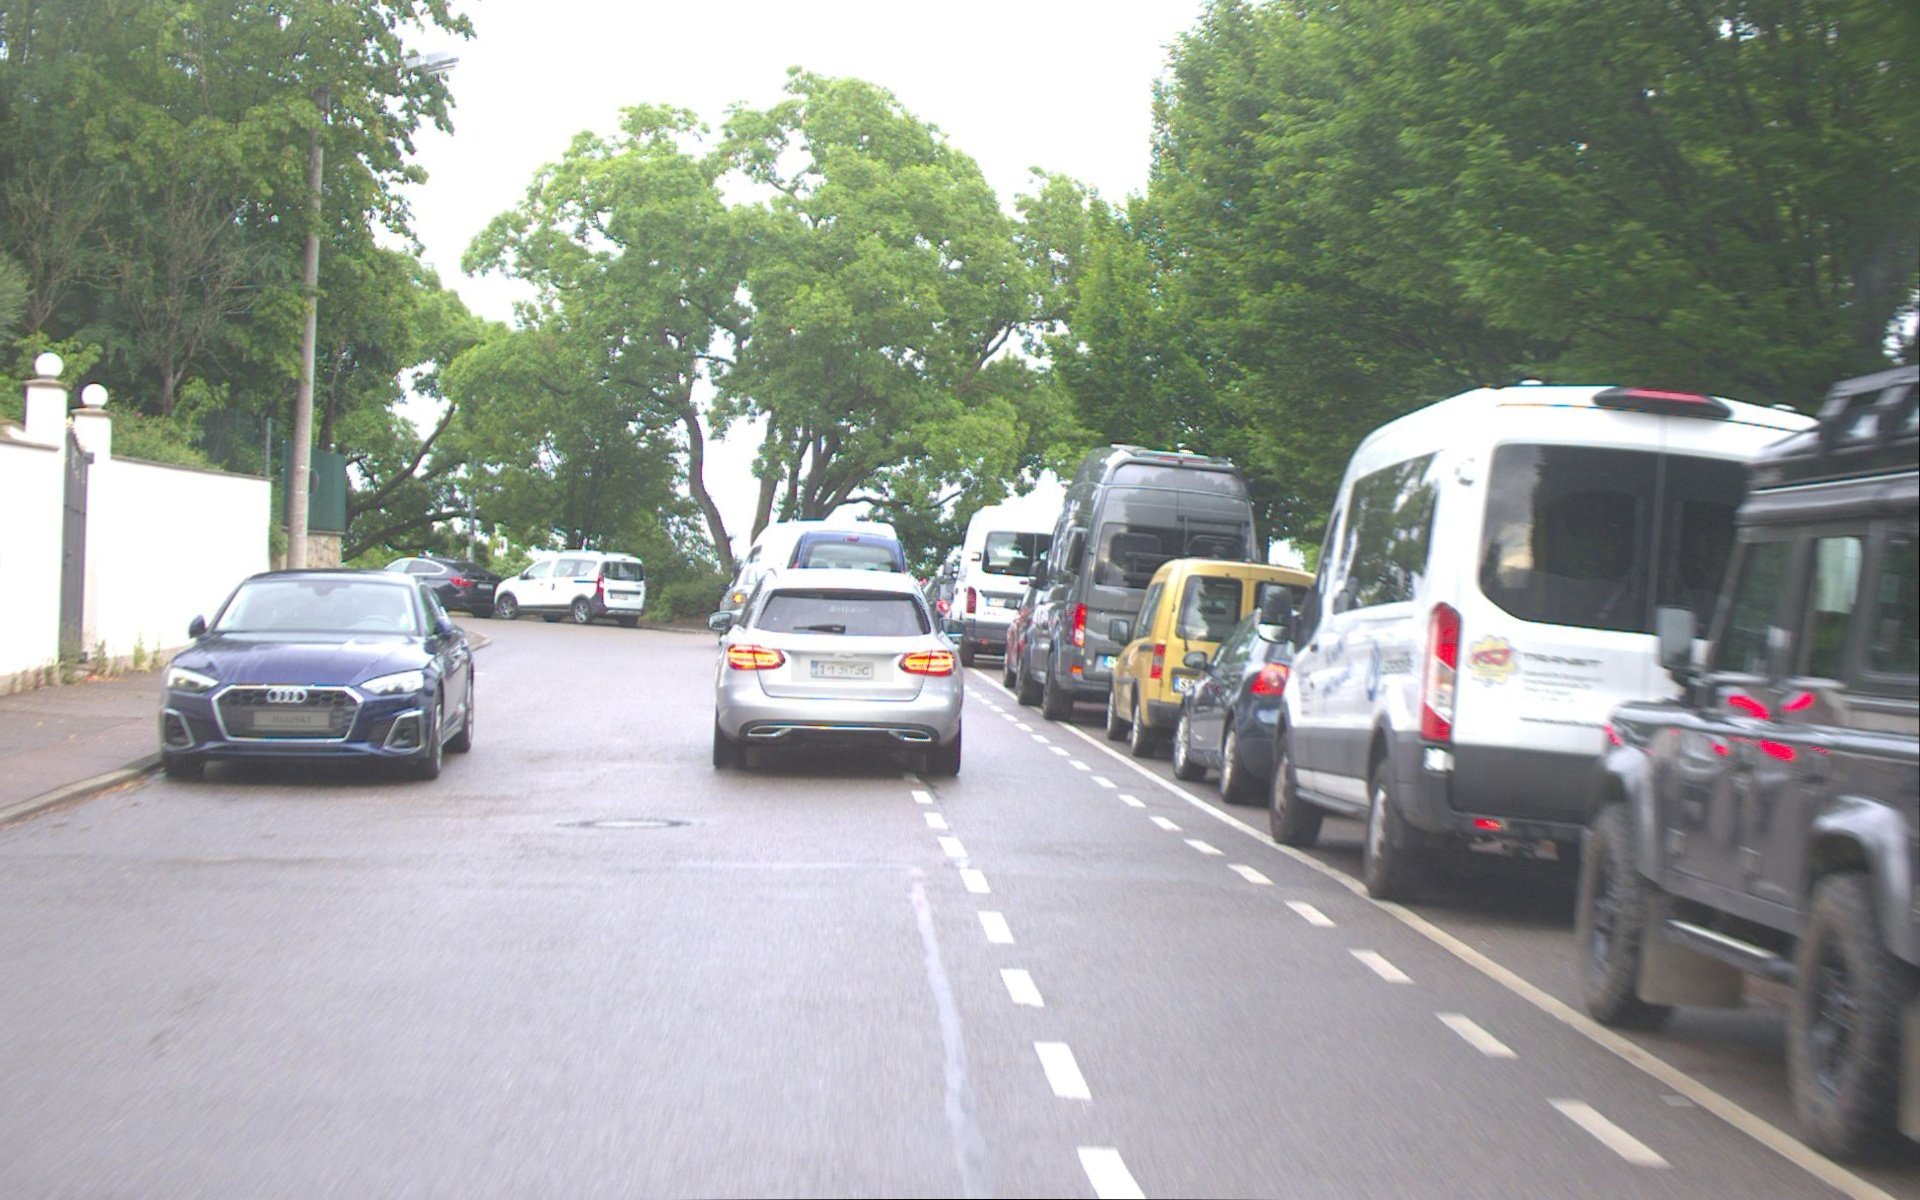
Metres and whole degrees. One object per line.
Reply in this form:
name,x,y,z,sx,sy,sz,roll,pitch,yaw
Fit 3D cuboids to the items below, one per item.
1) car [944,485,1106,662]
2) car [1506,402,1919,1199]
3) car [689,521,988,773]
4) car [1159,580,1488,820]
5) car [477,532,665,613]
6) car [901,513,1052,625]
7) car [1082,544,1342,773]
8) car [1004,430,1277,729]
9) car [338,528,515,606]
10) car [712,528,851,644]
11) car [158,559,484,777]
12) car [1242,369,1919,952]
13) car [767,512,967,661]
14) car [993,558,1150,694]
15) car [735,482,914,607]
car,0.956,-0.441,53.466,2.064,2.486,4.760,4,1,-3
car,3.274,0.546,10.687,1.993,2.045,5.122,3,1,-3
car,-0.952,0.283,25.726,2.025,1.702,4.216,1,1,-3
car,2.626,0.678,25.780,1.671,1.453,4.224,5,1,-3
car,-9.761,-0.693,86.152,4.492,1.692,1.966,5,1,38
car,0.272,-0.643,67.191,2.063,1.953,4.498,4,1,-10
car,2.222,0.461,31.390,1.727,1.779,4.276,6,1,-2
car,1.865,-0.269,37.600,2.124,2.877,5.770,4,1,-4
car,-13.959,-0.863,89.807,4.667,1.692,1.965,5,1,42
car,-2.839,-0.212,55.409,1.993,1.702,4.000,3,0,-1
car,-4.420,0.416,24.354,1.748,1.353,4.426,0,1,-4
car,3.055,0.226,18.561,2.173,2.484,6.034,4,1,-2
car,-1.235,-0.170,43.643,1.993,1.702,4.001,3,0,-8
car,1.382,0.296,43.848,1.583,1.522,3.586,4,1,-3
car,-3.062,-1.257,76.576,2.125,2.518,4.497,4,1,-27
